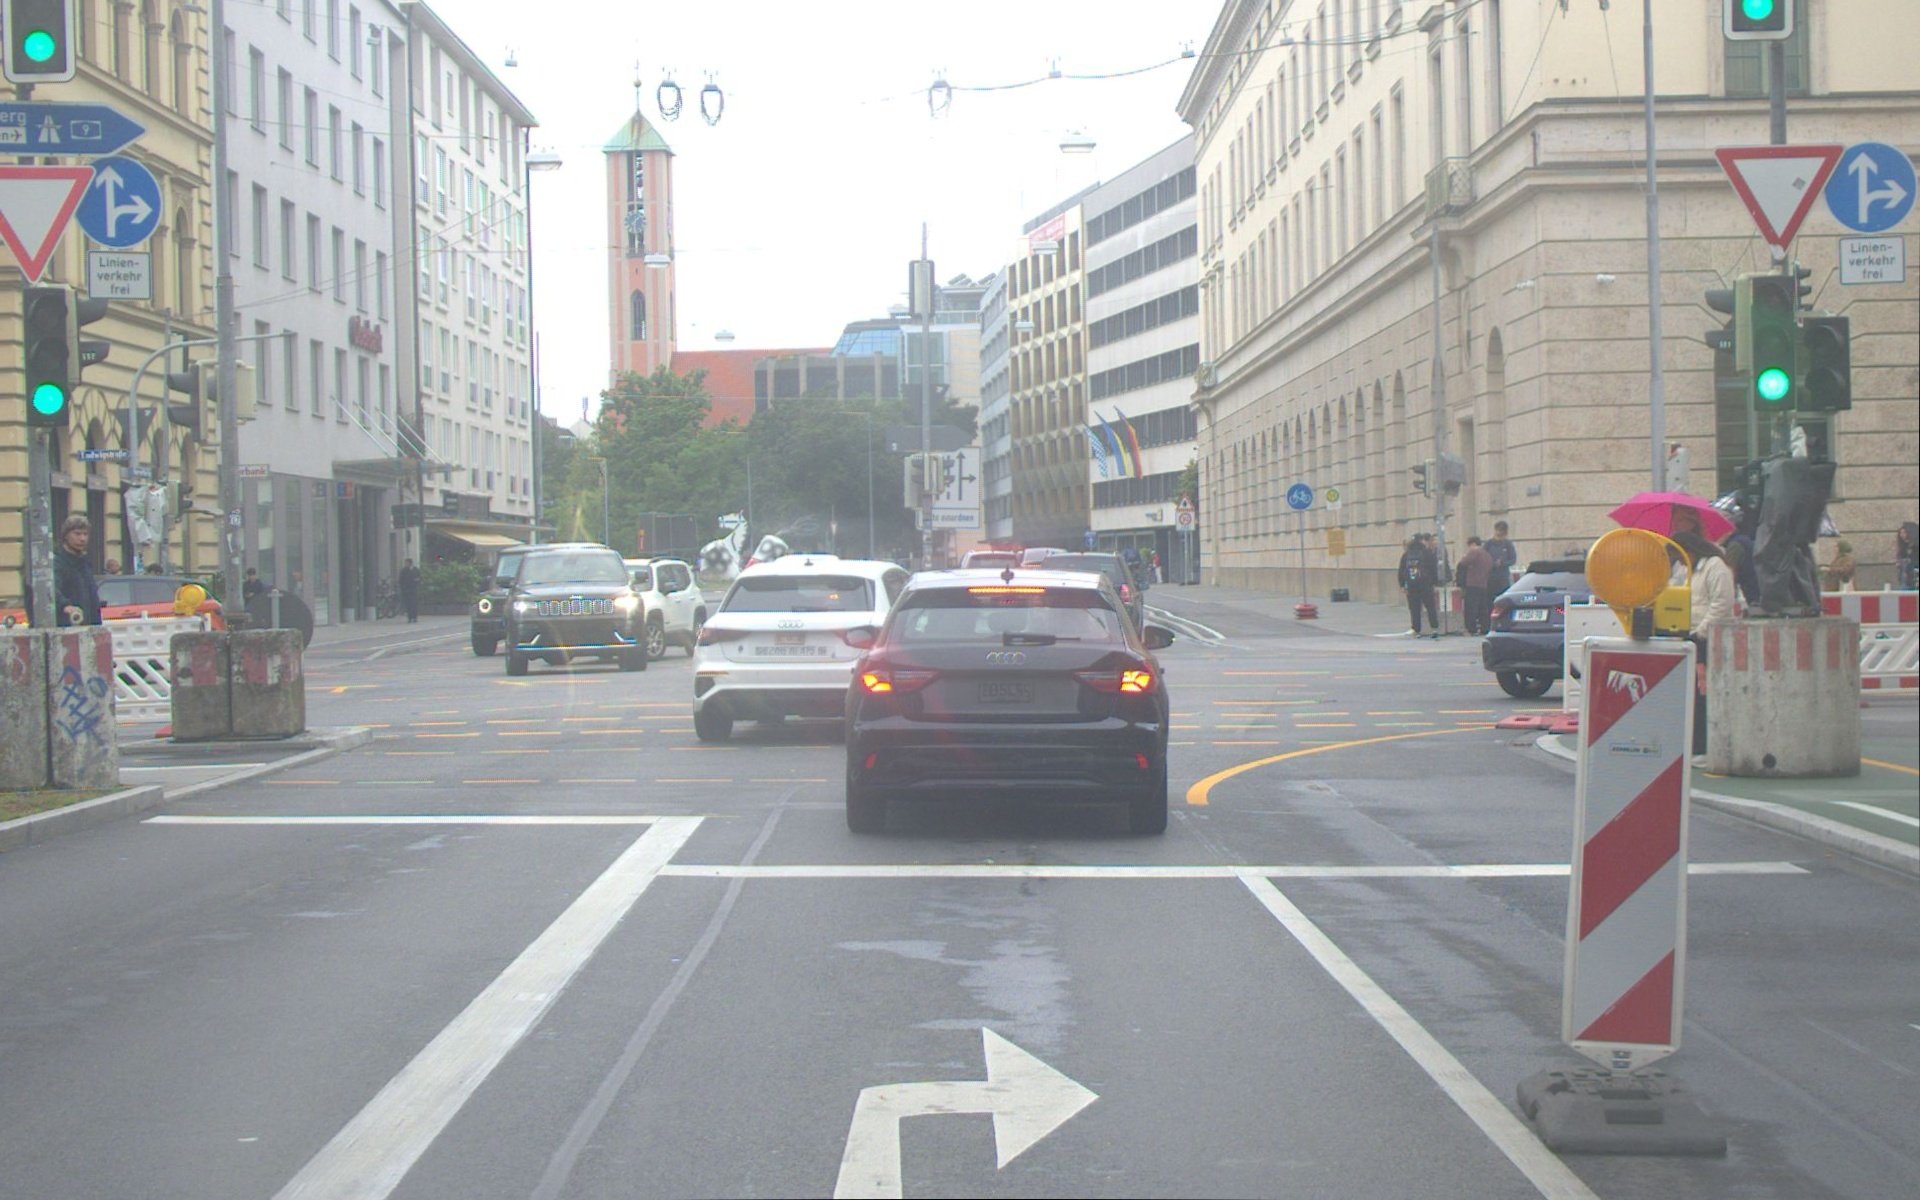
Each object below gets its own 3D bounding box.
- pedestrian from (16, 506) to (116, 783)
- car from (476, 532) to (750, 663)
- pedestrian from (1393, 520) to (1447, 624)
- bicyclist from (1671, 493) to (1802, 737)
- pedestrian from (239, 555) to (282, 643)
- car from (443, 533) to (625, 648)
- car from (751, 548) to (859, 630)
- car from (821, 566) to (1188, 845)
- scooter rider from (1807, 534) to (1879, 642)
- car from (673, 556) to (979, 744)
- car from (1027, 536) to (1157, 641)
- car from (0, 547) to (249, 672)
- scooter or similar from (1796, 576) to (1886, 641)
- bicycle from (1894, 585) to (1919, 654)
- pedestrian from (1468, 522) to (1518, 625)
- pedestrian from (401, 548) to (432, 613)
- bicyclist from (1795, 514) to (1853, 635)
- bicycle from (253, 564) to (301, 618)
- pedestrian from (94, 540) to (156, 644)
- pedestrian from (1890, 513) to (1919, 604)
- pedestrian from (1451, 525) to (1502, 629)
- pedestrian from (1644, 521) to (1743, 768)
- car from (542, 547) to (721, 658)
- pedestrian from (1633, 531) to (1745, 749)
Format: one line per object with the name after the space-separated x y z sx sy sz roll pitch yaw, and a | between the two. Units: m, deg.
-5.755 0.274 22.169 0.512 1.737 1.043 -1 1 -10 | pedestrian
-4.841 -0.070 48.619 1.996 1.728 4.581 -1 1 21 | car
7.771 -0.473 58.055 0.818 1.749 0.679 0 1 16 | pedestrian
5.999 0.107 26.572 0.798 1.847 0.566 1 1 42 | bicyclist
-14.242 -0.027 70.007 0.737 1.766 0.736 0 1 -1 | pedestrian
-7.789 -0.211 63.329 2.238 2.007 4.449 -1 1 7 | car
-3.041 -0.245 68.151 1.993 1.519 4.233 -1 1 -1 | car
0.211 0.518 19.481 1.863 1.383 4.000 0 1 0 | car
13.306 -0.179 51.842 0.932 1.617 0.592 0 1 2 | scooter rider
-1.028 0.358 28.775 1.813 1.420 4.451 1 1 8 | car
2.086 -0.211 55.117 1.865 1.596 3.851 -1 1 -1 | car
-12.651 0.117 50.413 3.989 1.714 1.822 -2 1 -44 | car
13.284 0.125 51.845 1.211 0.961 0.588 0 1 1 | scooter or similar
15.419 0.293 52.788 1.958 1.037 0.795 0 1 3 | bicycle
9.173 -0.460 59.127 0.584 1.749 0.818 1 1 31 | pedestrian
-14.711 -0.528 93.028 0.737 1.766 0.736 0 1 -1 | pedestrian
13.248 -0.394 52.711 0.744 1.836 0.660 0 1 3 | bicyclist
-15.911 -0.224 80.153 0.598 1.238 2.199 0 0 2 | bicycle
-14.276 -0.150 58.792 0.734 1.766 0.738 0 1 21 | pedestrian
16.204 -0.705 58.246 0.665 1.522 0.820 0 1 -1 | pedestrian
8.772 -0.398 58.395 0.584 1.749 0.818 1 1 31 | pedestrian
4.874 0.287 22.868 0.531 1.614 0.674 0 1 2 | pedestrian
-5.282 0.008 55.822 1.794 1.672 4.231 -1 1 10 | car
5.279 0.282 24.912 0.702 1.562 0.541 0 1 2 | pedestrian
